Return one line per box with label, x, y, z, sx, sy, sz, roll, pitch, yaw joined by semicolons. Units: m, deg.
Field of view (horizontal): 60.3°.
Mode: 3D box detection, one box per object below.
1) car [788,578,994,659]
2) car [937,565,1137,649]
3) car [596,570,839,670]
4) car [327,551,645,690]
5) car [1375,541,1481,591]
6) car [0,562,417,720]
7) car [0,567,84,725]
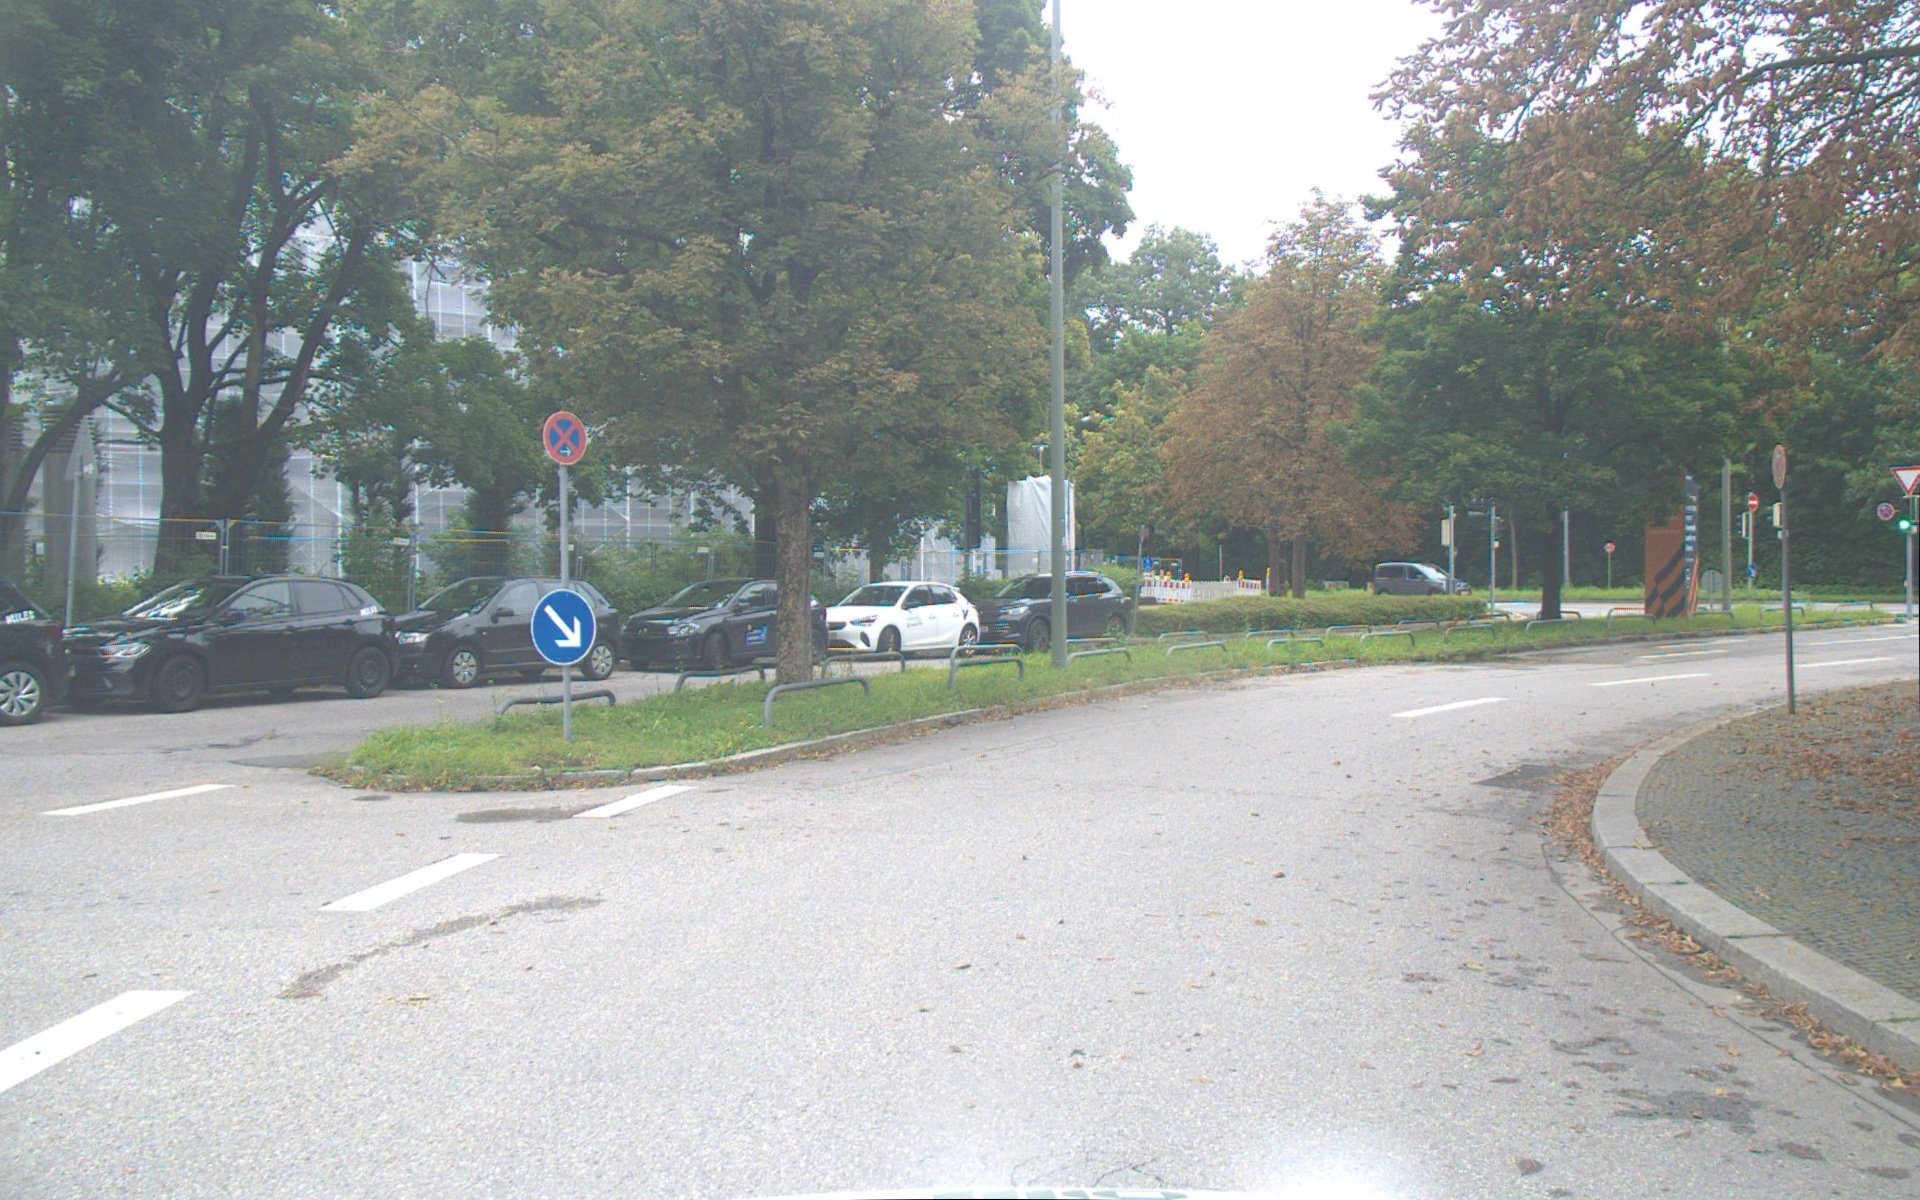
car;-1.221;0.311;31.070;1.764;1.408;4.206;-1;0;33
car;1.668;0.180;34.536;1.858;1.634;4.370;-1;-1;42
car;-3.856;0.290;26.905;1.800;1.486;3.997;-1;0;31
car;-6.454;0.245;22.906;1.957;1.736;3.991;-1;0;31
car;19.831;-1.435;70.235;1.981;2.049;3.943;-1;1;-39
car;-8.360;0.385;18.606;1.957;1.568;3.992;0;1;31
car;-10.454;0.428;14.981;1.957;1.457;4.033;2;2;31
